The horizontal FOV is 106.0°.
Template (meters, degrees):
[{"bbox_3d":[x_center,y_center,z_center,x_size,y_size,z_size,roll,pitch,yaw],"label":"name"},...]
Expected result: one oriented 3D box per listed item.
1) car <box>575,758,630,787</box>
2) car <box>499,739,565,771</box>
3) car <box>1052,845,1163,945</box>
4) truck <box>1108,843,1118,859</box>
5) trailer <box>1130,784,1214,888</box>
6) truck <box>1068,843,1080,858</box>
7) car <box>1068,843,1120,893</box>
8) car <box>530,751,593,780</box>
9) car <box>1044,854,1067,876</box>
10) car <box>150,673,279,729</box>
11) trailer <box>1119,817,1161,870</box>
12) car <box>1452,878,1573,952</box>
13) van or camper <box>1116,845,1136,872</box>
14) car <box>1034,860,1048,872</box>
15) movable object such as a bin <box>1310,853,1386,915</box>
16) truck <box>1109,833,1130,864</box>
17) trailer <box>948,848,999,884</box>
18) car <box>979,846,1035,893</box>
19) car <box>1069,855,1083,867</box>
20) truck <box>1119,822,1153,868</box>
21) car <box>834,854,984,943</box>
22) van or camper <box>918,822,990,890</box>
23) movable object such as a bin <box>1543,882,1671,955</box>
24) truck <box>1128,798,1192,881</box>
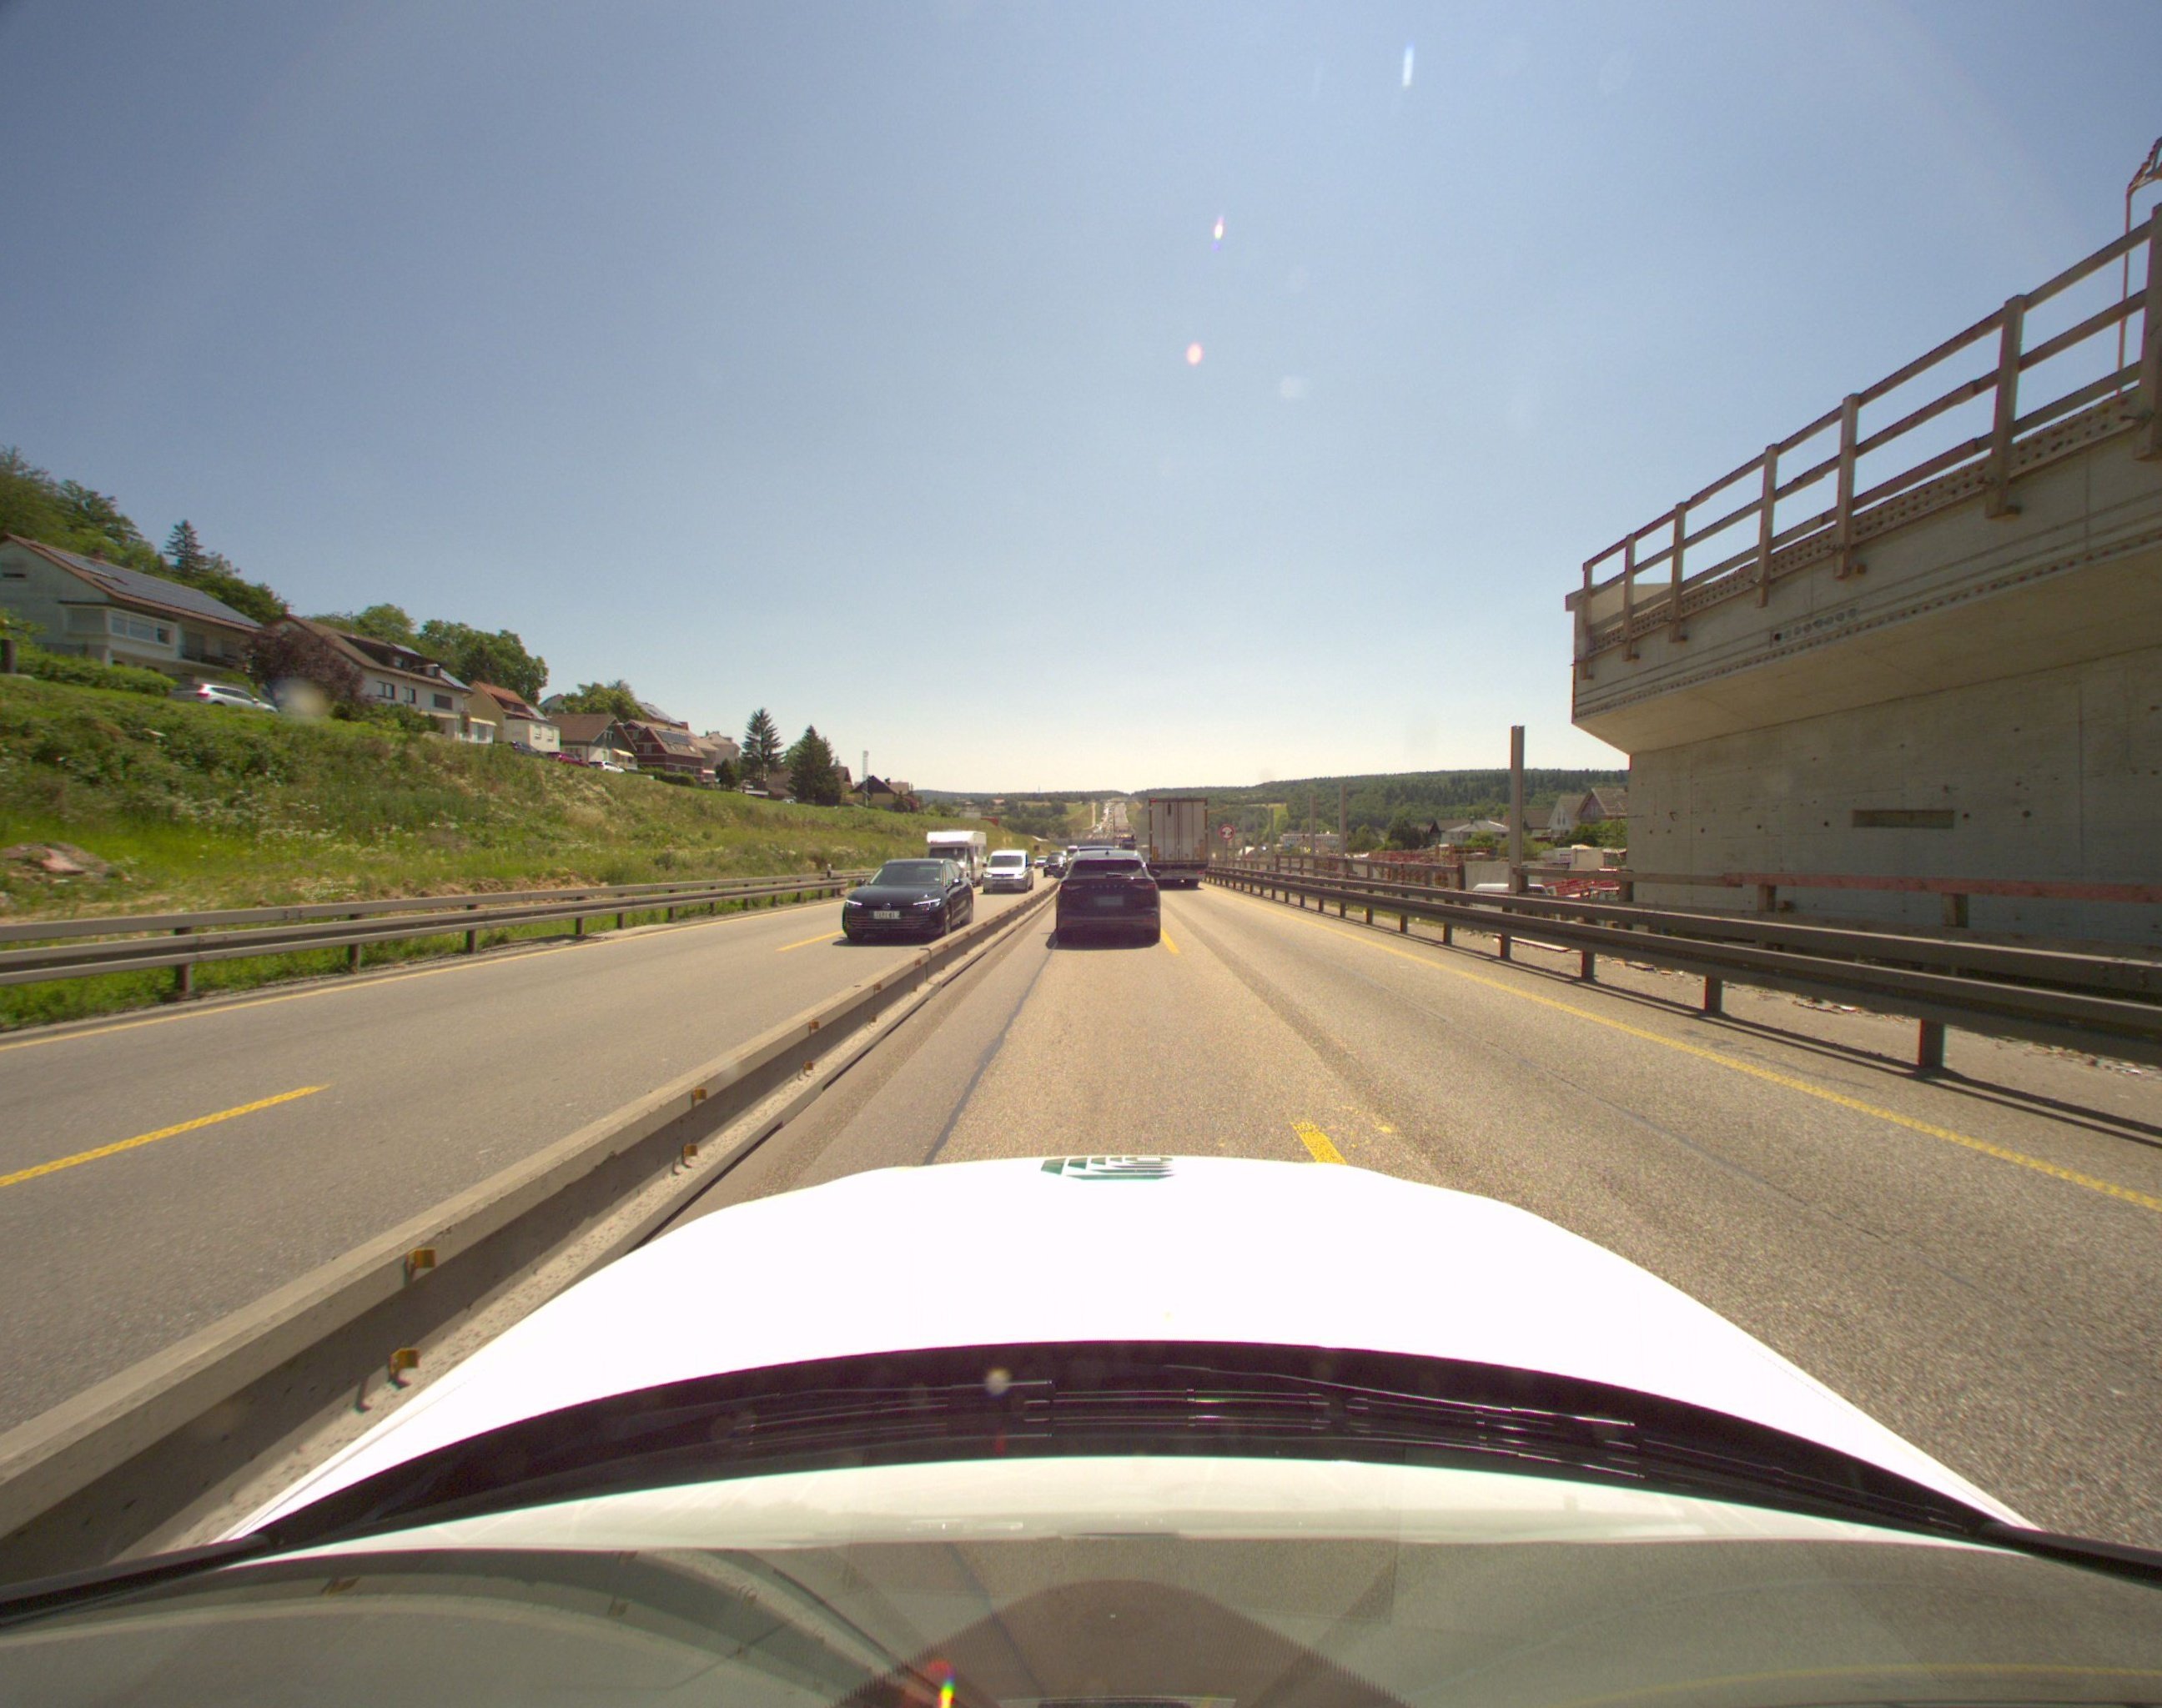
[{"bbox_3d":[-44.230,-7.493,75.391,2.341,2.041,4.815,-1,-1,-2],"label":"car"},{"bbox_3d":[-42.329,-7.617,62.920,2.175,1.794,4.754,-1,-1,-5],"label":"car"},{"bbox_3d":[0.512,0.687,15.268,1.795,1.607,4.002,-1,-1,2],"label":"car"},{"bbox_3d":[8.913,-0.859,226.844,2.630,4.194,9.286,-1,-1,2],"label":"truck"},{"bbox_3d":[4.355,-0.817,42.006,3.169,4.513,13.113,-1,0,2],"label":"trailer"},{"bbox_3d":[-1.675,-0.849,203.037,2.769,3.672,6.278,-1,0,1],"label":"truck"},{"bbox_3d":[0.564,0.592,33.782,1.986,1.926,4.508,-1,-1,1],"label":"car"},{"bbox_3d":[-43.967,-7.465,69.099,2.341,1.794,4.798,-1,-1,-2],"label":"car"},{"bbox_3d":[-1.786,0.770,57.937,1.478,1.505,2.806,-1,0,1],"label":"car"},{"bbox_3d":[-41.068,-7.207,38.742,1.990,1.794,3.992,-1,-1,-5],"label":"car"},{"bbox_3d":[5.417,-0.746,77.373,3.169,4.513,14.970,-1,-1,2],"label":"trailer"},{"bbox_3d":[18.772,2.546,35.950,2.134,2.856,7.032,-1,-1,5],"label":"car"},{"bbox_3d":[5.639,0.605,102.157,2.378,3.281,6.474,-1,-1,4],"label":"van or camper"},{"bbox_3d":[-4.728,1.448,97.342,1.554,1.402,3.465,-1,-1,-1],"label":"car"},{"bbox_3d":[21.846,2.380,67.231,3.215,4.743,9.657,-1,-1,1],"label":"movable object such as a bin"},{"bbox_3d":[5.968,-0.795,127.372,2.842,4.465,11.918,-1,-1,1],"label":"truck"},{"bbox_3d":[-6.053,0.663,46.570,2.094,1.894,5.143,-1,0,1],"label":"trailer"},{"bbox_3d":[-3.095,0.626,34.850,1.831,1.828,5.041,-1,0,1],"label":"car"},{"bbox_3d":[-0.597,0.953,111.025,1.800,1.640,4.172,-1,0,1],"label":"car"},{"bbox_3d":[5.630,-0.812,84.572,3.169,4.513,8.167,-1,-1,1],"label":"truck"},{"bbox_3d":[-3.196,0.756,16.205,1.836,1.475,4.836,-1,0,1],"label":"car"},{"bbox_3d":[-6.193,0.090,40.658,2.283,3.066,6.926,-1,0,1],"label":"van or camper"},{"bbox_3d":[21.472,2.552,33.606,2.134,2.676,5.508,-1,-1,6],"label":"movable object such as a bin"},{"bbox_3d":[4.542,-0.800,48.480,3.169,4.513,8.168,-1,0,1],"label":"truck"}]
